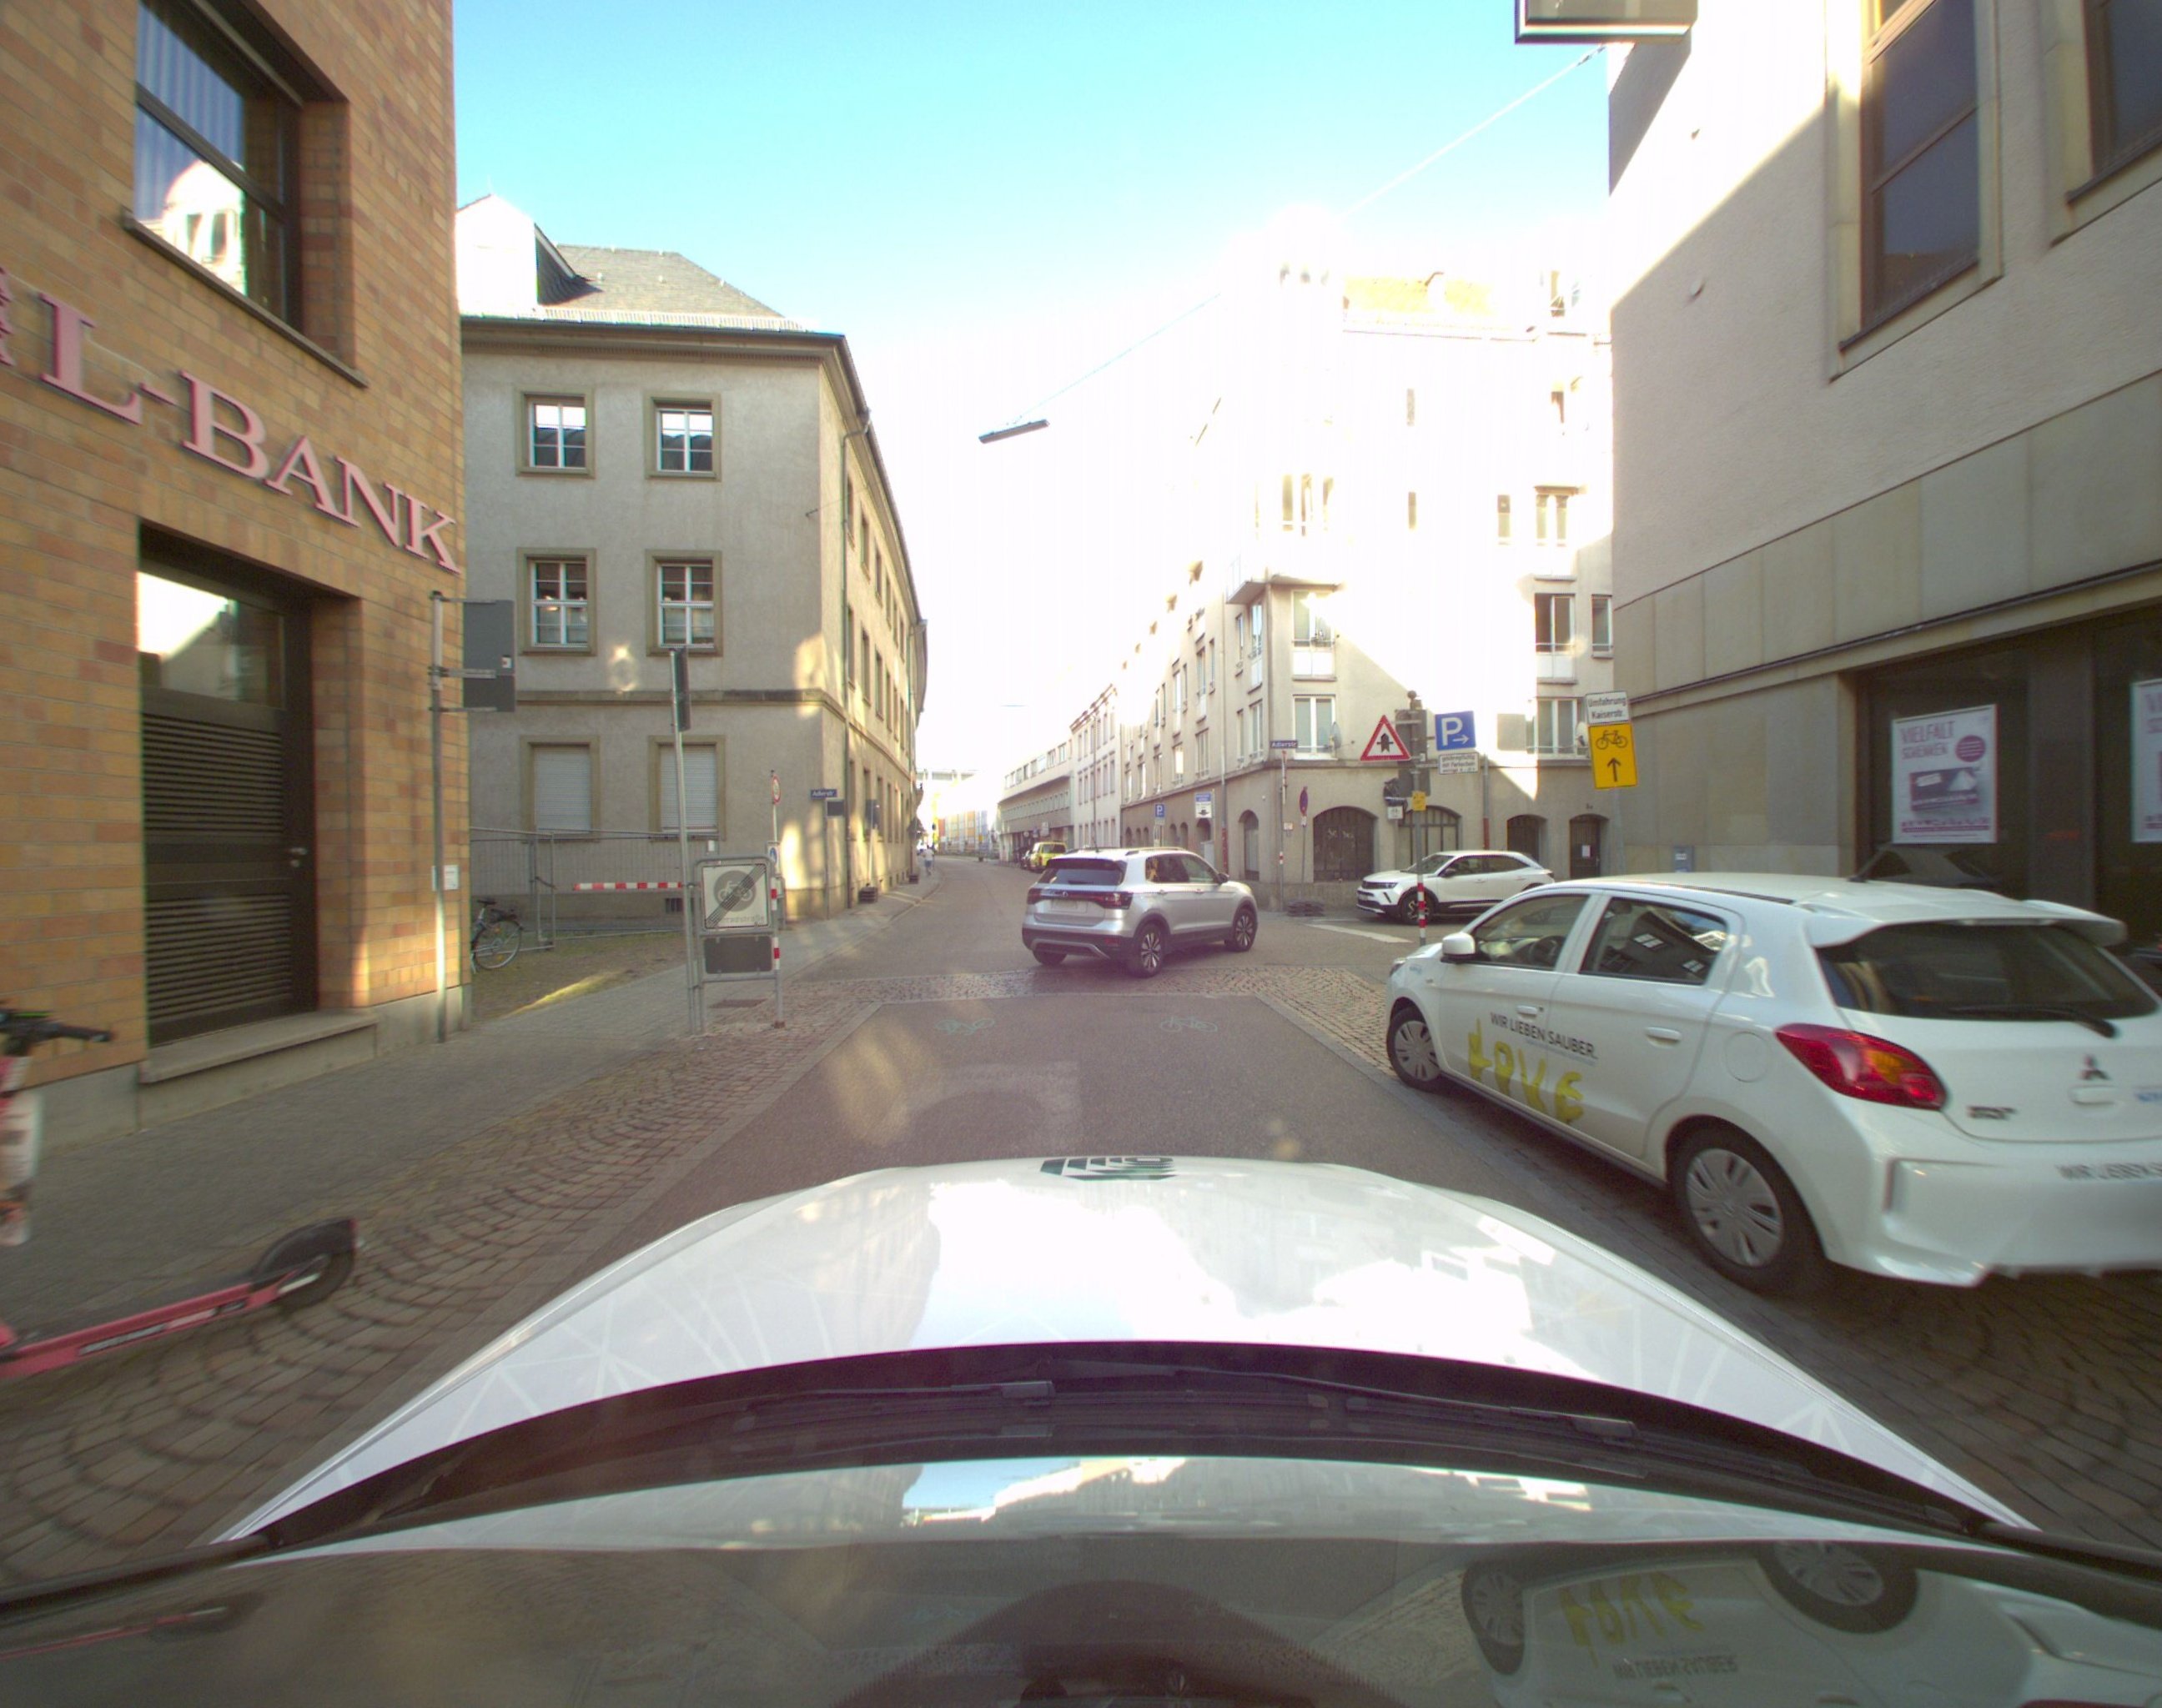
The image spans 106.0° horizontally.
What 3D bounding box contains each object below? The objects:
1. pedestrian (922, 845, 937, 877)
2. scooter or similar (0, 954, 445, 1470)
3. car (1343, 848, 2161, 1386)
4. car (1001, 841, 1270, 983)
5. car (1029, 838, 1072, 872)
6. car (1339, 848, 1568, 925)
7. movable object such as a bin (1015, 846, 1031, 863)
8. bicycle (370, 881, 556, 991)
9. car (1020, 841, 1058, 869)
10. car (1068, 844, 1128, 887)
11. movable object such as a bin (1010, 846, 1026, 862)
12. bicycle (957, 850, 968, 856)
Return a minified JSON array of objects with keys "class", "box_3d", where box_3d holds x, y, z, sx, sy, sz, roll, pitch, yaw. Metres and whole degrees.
[{"class":"pedestrian","box_3d":[-8.248,0.372,44.241,0.767,1.724,0.684,-1,0,-13]},{"class":"scooter or similar","box_3d":[-3.045,1.033,2.630,0.691,1.217,1.365,-1,1,28]},{"class":"car","box_3d":[3.128,0.736,4.429,1.884,1.518,4.057,0,1,-4]},{"class":"car","box_3d":[0.945,0.647,11.464,1.819,1.562,4.026,-1,1,37]},{"class":"car","box_3d":[-1.960,0.036,50.797,2.054,2.013,4.159,-1,1,-11]},{"class":"car","box_3d":[8.083,0.668,17.932,4.204,1.553,1.901,0,0,-2]},{"class":"movable object such as a bin","box_3d":[-5.383,0.011,75.027,1.133,1.558,1.731,-1,0,-15]},{"class":"bicycle","box_3d":[-7.904,0.993,10.533,0.802,1.201,1.781,0,1,15]},{"class":"car","box_3d":[-2.963,0.042,56.583,2.054,1.873,4.084,-1,1,-11]},{"class":"car","box_3d":[0.650,0.430,34.332,1.966,1.692,4.092,0,1,-7]},{"class":"movable object such as a bin","box_3d":[-5.942,0.026,76.730,1.133,1.479,1.731,-1,0,-15]},{"class":"bicycle","box_3d":[-20.331,-0.191,139.466,1.782,1.000,0.544,-1,0,-13]}]
